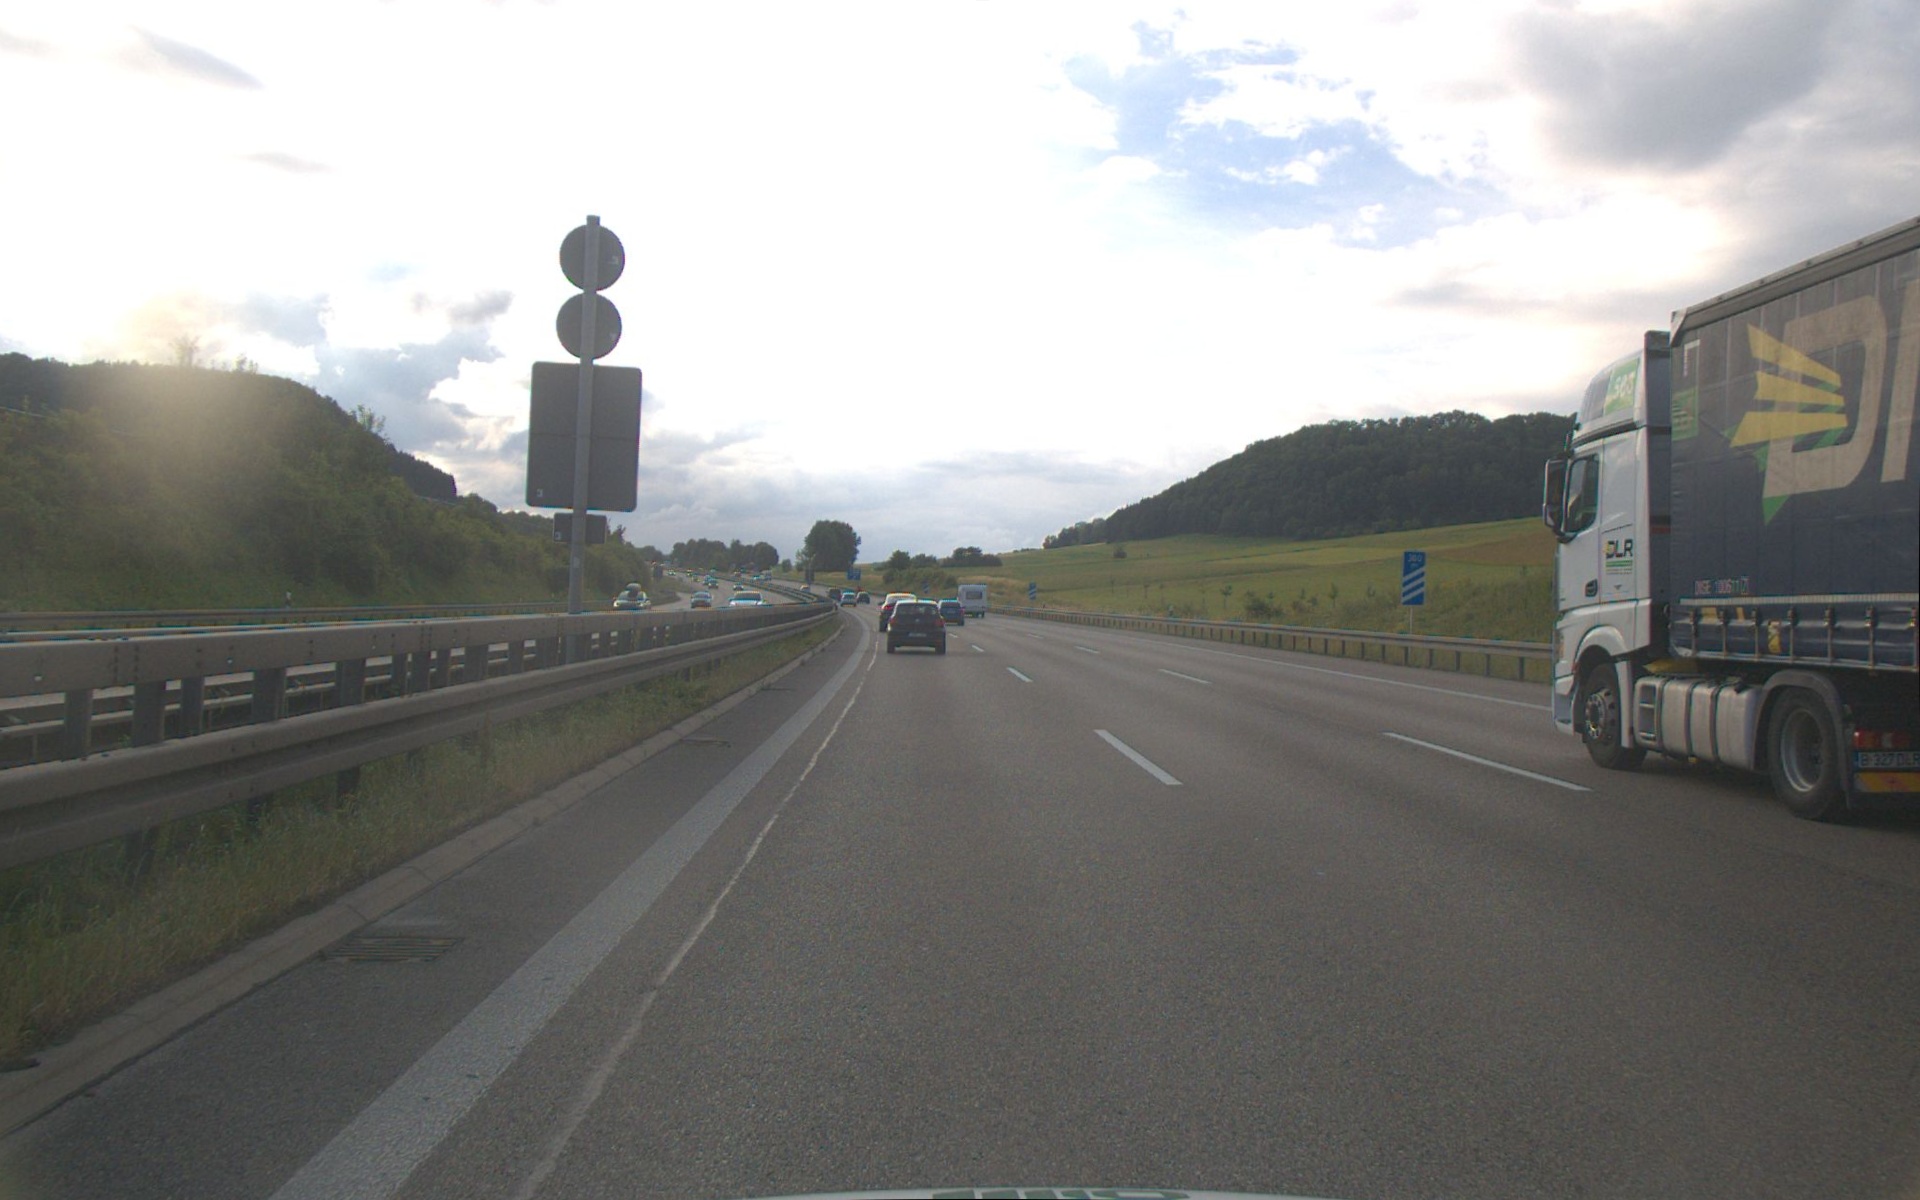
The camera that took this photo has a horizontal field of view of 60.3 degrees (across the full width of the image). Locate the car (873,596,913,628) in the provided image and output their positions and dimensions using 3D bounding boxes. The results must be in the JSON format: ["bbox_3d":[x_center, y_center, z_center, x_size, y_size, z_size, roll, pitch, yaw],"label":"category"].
[{"bbox_3d":[-2.980,0.514,74.321,1.532,1.404,4.001,1,0,2],"label":"car"}]

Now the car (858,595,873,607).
[{"bbox_3d":[-12.704,0.117,222.278,1.918,1.601,3.998,1,0,-3],"label":"car"}]

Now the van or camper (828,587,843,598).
[{"bbox_3d":[-17.487,-1.077,231.720,1.927,1.458,3.998,1,0,-2],"label":"van or camper"}]

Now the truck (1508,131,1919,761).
[{"bbox_3d":[7.654,-0.978,9.313,2.904,4.062,17.728,1,0,-1],"label":"truck"}]

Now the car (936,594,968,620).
[{"bbox_3d":[-0.468,0.400,96.796,1.731,1.458,3.998,1,0,-2],"label":"car"}]

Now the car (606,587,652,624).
[{"bbox_3d":[-19.470,0.337,97.474,1.923,2.076,5.016,1,0,-3],"label":"car"}]

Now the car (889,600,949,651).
[{"bbox_3d":[-1.136,0.700,46.974,1.506,1.371,3.677,1,0,1],"label":"car"}]

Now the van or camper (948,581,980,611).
[{"bbox_3d":[0.357,-0.318,132.784,2.495,2.278,5.330,1,0,1],"label":"van or camper"}]

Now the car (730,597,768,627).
[{"bbox_3d":[-12.004,0.680,94.249,1.796,1.619,5.016,1,0,-3],"label":"car"}]

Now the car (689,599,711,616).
[{"bbox_3d":[-23.852,0.687,152.062,1.673,1.440,3.996,1,0,-5],"label":"car"}]
